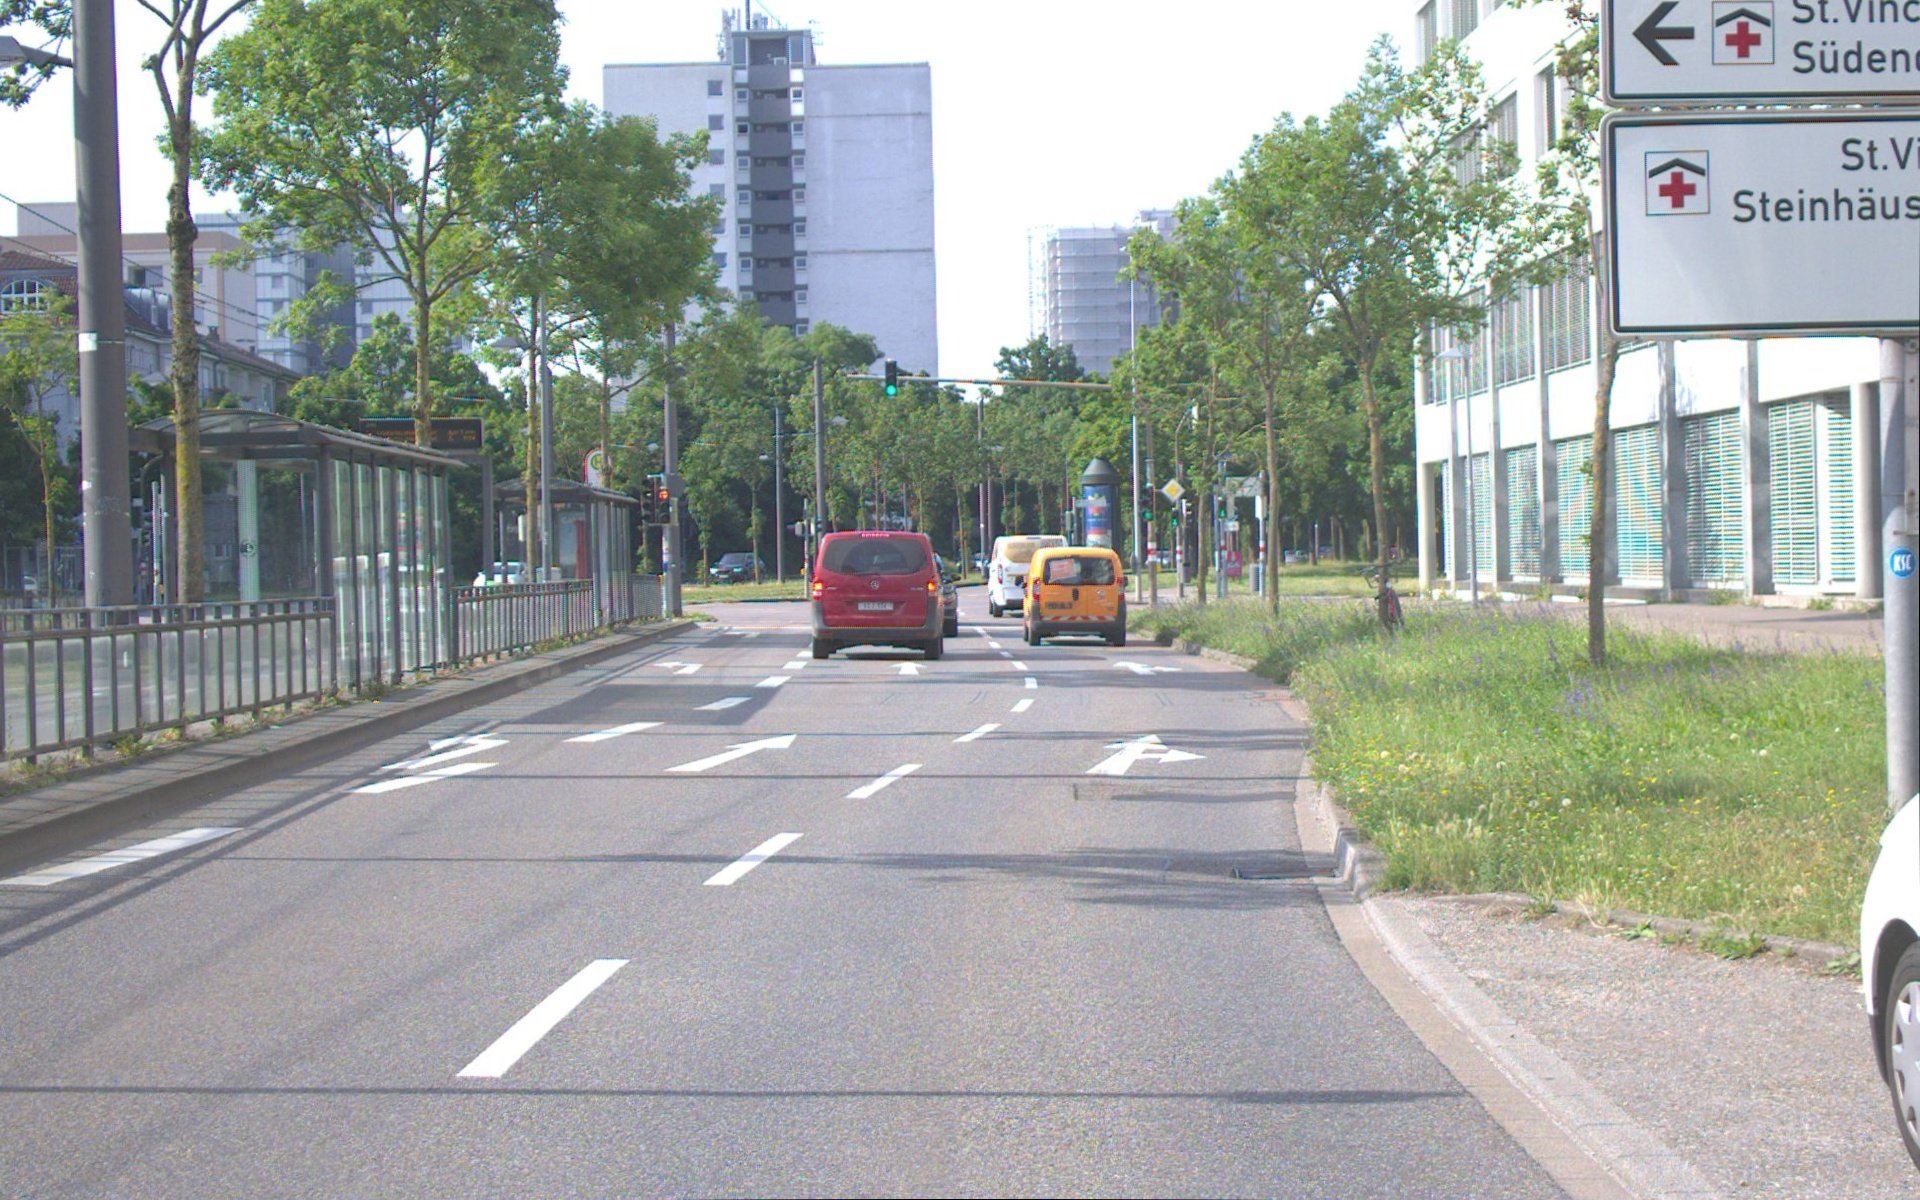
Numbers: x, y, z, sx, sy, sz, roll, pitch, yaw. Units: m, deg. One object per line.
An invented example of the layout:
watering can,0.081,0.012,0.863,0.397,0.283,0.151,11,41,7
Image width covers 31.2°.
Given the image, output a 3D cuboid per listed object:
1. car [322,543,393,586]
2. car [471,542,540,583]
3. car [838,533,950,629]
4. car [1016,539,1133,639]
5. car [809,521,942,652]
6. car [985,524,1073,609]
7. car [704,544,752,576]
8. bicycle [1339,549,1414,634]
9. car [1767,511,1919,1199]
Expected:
car,-22.946,-1.338,131.094,1.993,1.590,4.000,1,0,0
car,-17.935,-1.476,135.808,1.994,1.590,4.049,1,0,3
car,-1.253,-0.385,65.478,1.993,1.700,4.000,-2,1,-1
car,1.986,-0.210,60.475,1.875,1.690,3.973,-1,1,0
car,-1.282,-0.219,51.129,1.874,1.847,4.000,-1,1,-2
car,1.657,-0.811,84.264,1.993,2.007,4.000,1,0,-1
car,-11.697,-2.046,173.728,1.875,1.568,4.000,-1,1,4
bicycle,5.078,-0.116,42.032,0.618,1.013,1.880,-1,1,-2
car,2.972,0.536,6.655,1.689,1.521,3.851,-3,1,-2
